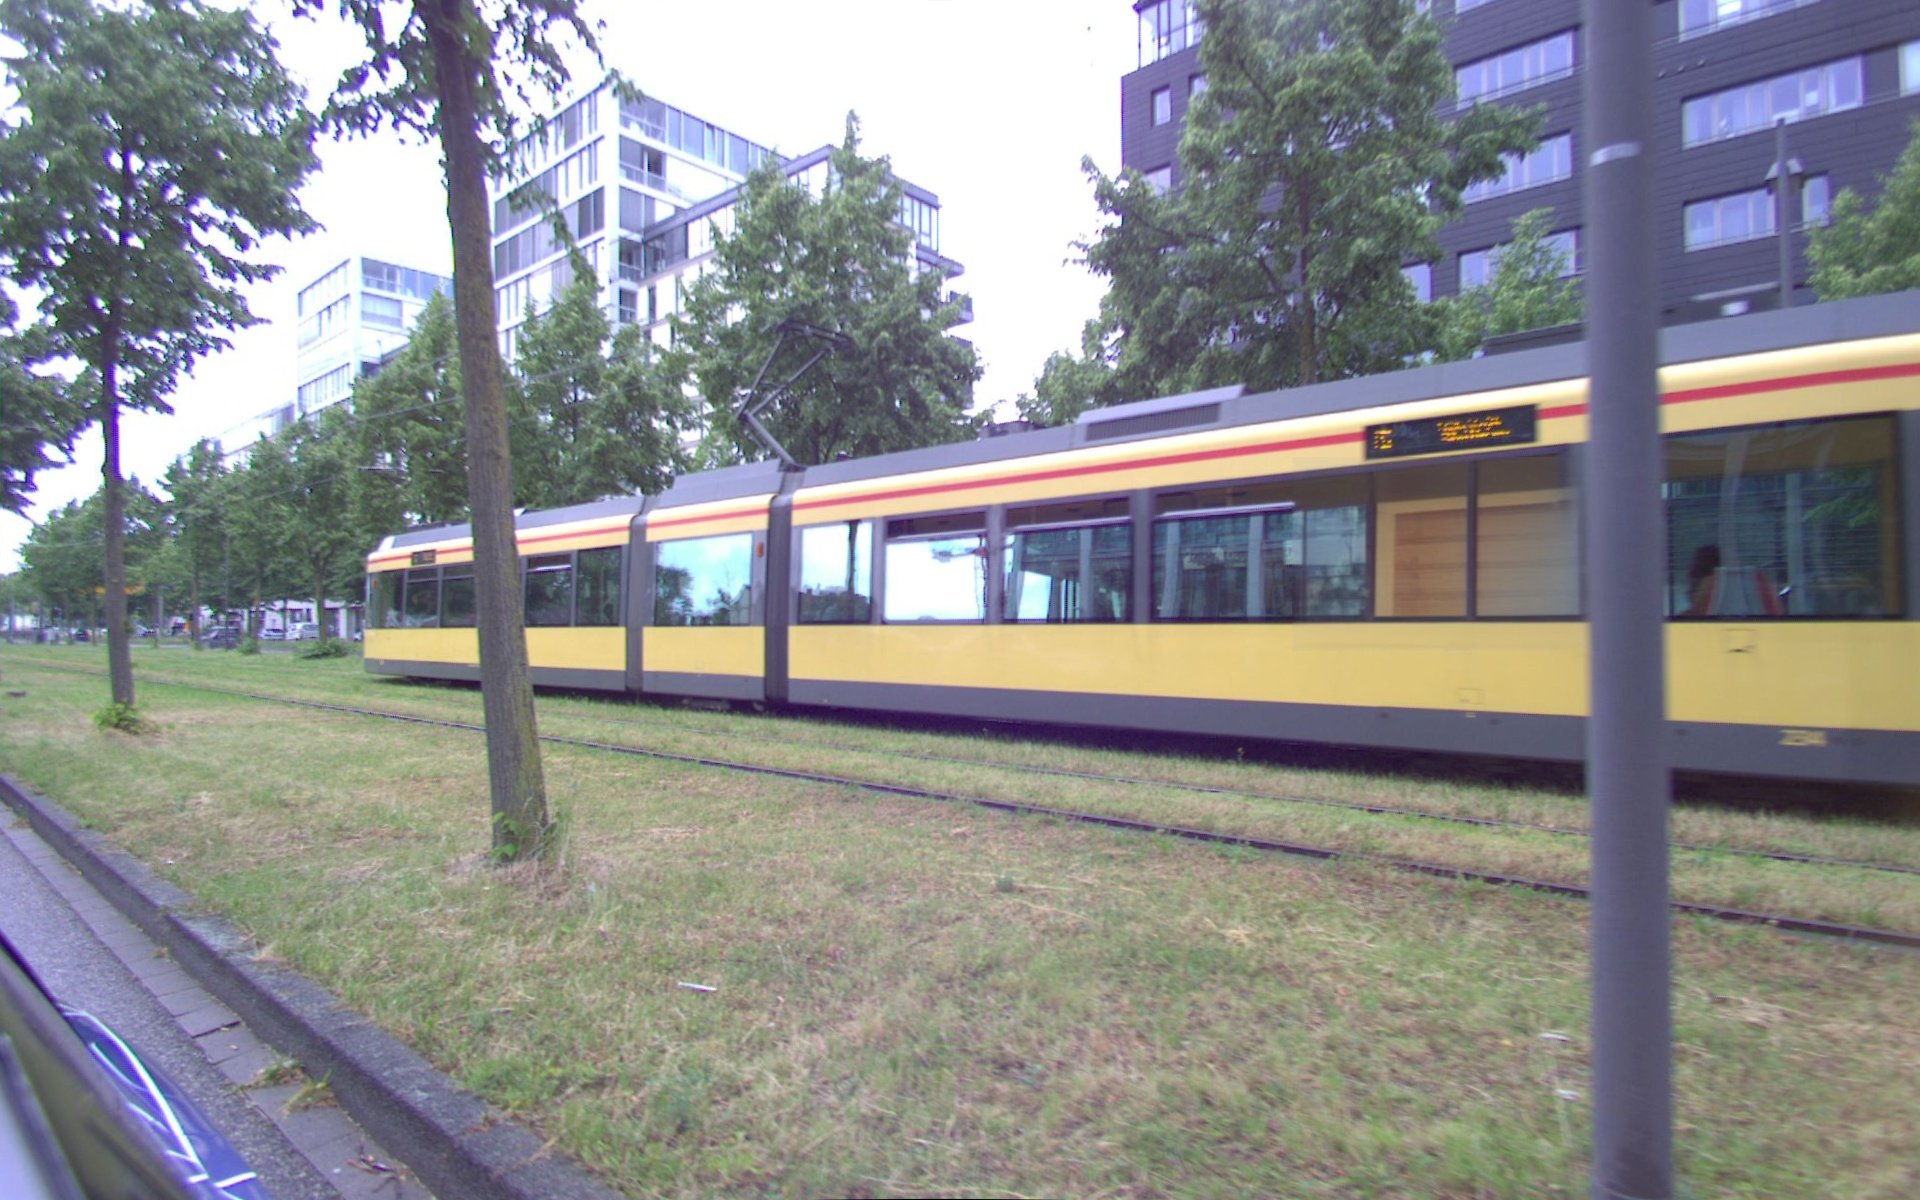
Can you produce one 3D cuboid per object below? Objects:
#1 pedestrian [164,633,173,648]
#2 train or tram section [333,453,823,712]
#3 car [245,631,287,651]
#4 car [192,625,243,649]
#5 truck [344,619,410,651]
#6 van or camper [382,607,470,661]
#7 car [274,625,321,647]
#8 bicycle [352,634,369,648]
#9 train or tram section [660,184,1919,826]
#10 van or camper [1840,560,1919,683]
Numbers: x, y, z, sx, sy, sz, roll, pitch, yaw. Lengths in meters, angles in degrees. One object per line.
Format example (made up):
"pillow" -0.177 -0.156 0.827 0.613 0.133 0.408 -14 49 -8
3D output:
"pedestrian" -91.836 4.647 117.467 0.793 1.704 0.703 -2 -2 44
"train or tram section" -8.340 -0.093 19.986 13.399 3.687 3.096 -2 -1 41
"car" -63.508 3.754 92.609 4.461 1.725 2.122 -2 -2 41
"car" -49.416 2.457 67.321 4.477 1.536 1.843 -2 -2 42
"truck" -44.088 2.604 76.458 6.305 2.309 2.401 -2 -2 41
"van or camper" -25.288 1.611 47.848 5.400 2.429 1.889 -2 -2 42
"car" -57.056 3.081 87.117 5.161 1.866 1.973 -2 -2 40
"bicycle" -42.782 2.939 72.225 1.758 0.952 0.592 -2 -2 45
"train or tram section" 2.428 -0.412 10.564 15.056 3.687 3.096 -2 -1 41
"van or camper" 20.337 0.365 18.872 5.847 2.333 2.408 -2 -1 41
